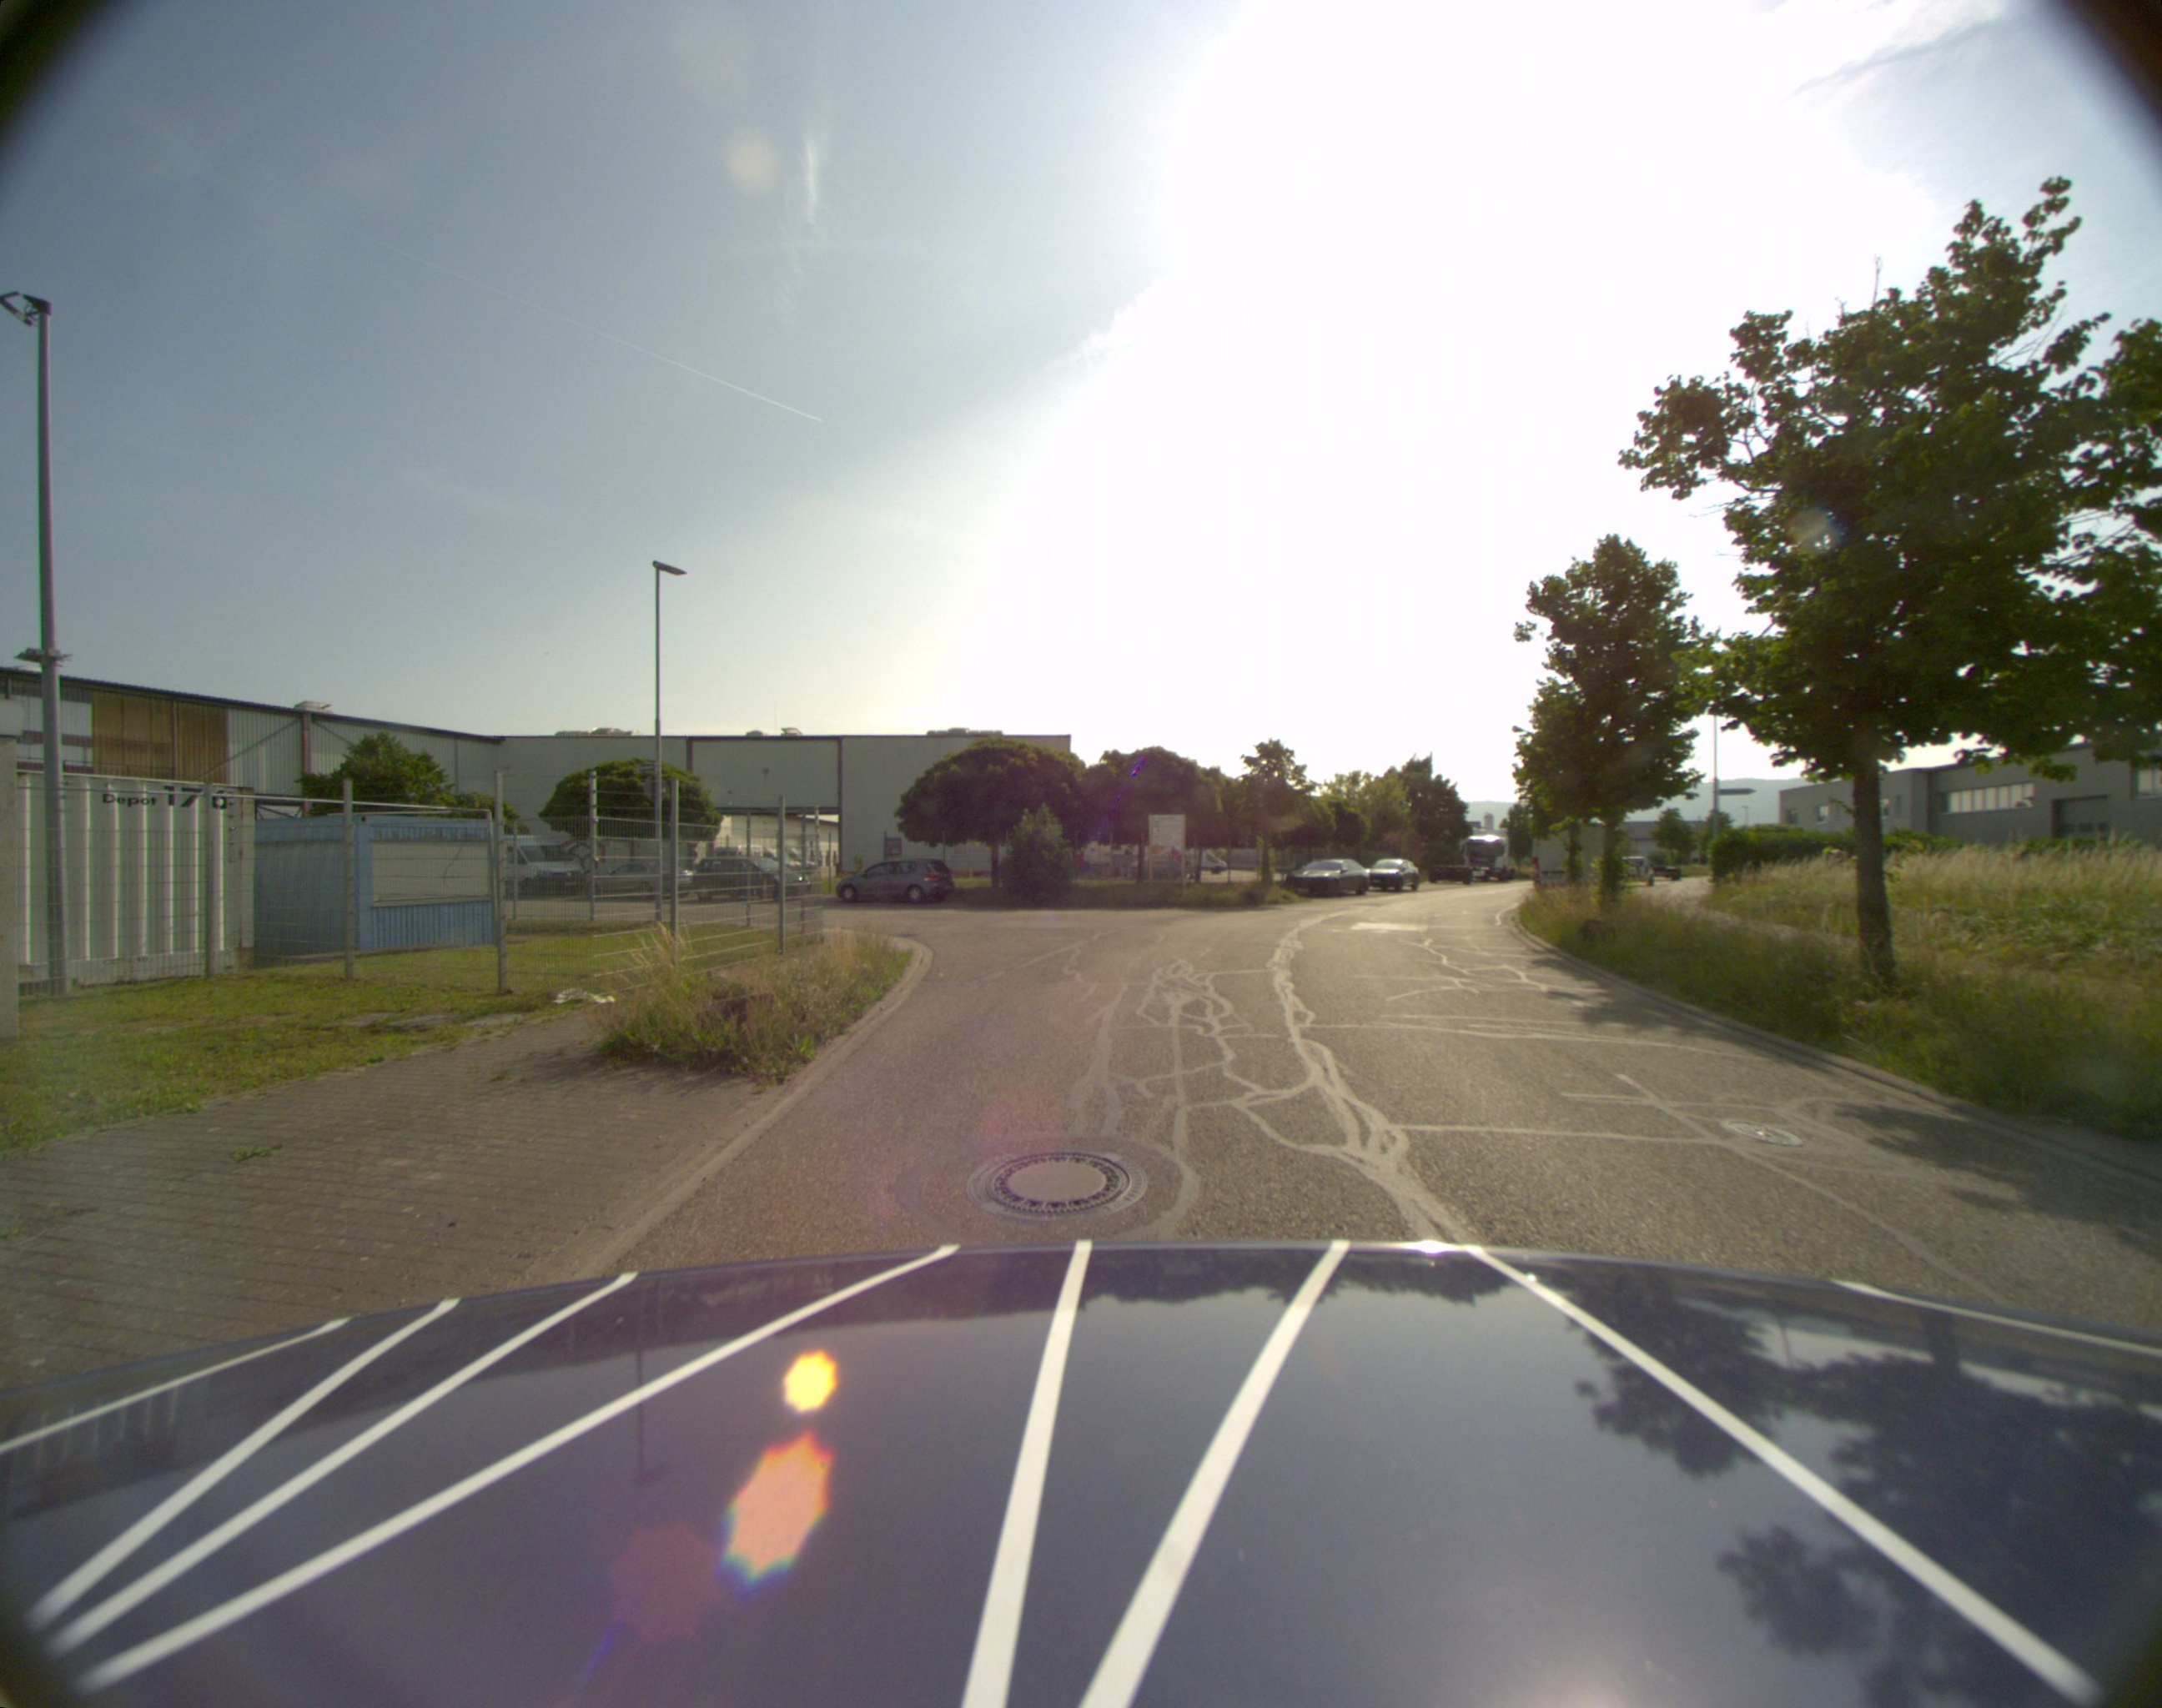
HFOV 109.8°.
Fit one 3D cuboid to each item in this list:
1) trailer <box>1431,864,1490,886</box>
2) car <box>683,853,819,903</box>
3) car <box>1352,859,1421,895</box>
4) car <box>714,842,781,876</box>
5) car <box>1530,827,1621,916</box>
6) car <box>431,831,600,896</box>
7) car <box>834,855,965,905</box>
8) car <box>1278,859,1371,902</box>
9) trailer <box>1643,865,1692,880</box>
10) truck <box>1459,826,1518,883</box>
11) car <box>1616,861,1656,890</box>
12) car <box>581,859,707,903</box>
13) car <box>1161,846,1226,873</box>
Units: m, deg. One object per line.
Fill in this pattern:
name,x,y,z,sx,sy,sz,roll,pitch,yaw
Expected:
trailer,25.427,1.355,50.703,1.939,1.228,7.467,2,1,39
car,-11.823,0.880,27.280,4.259,1.616,1.881,-2,-1,19
car,15.155,1.097,37.593,1.881,1.565,4.122,3,3,40
car,-25.456,0.337,58.286,2.173,2.503,6.700,0,1,0
car,16.659,0.545,25.413,2.103,2.579,6.518,0,-1,37
car,-23.632,0.365,31.728,6.832,2.470,2.210,0,3,21
car,-6.131,0.864,25.778,3.952,1.515,1.729,-1,3,19
car,10.390,1.053,32.171,1.881,1.565,5.129,2,2,40
trailer,45.414,1.418,58.697,2.547,1.068,9.753,-2,-2,40
truck,30.365,0.046,56.526,2.692,3.942,6.061,3,2,38
car,32.328,1.225,44.251,1.598,1.641,3.652,-1,-1,40
car,-16.950,1.011,29.459,4.482,1.509,1.730,-1,3,21
car,11.340,0.563,76.984,6.269,2.633,2.212,0,0,-1
